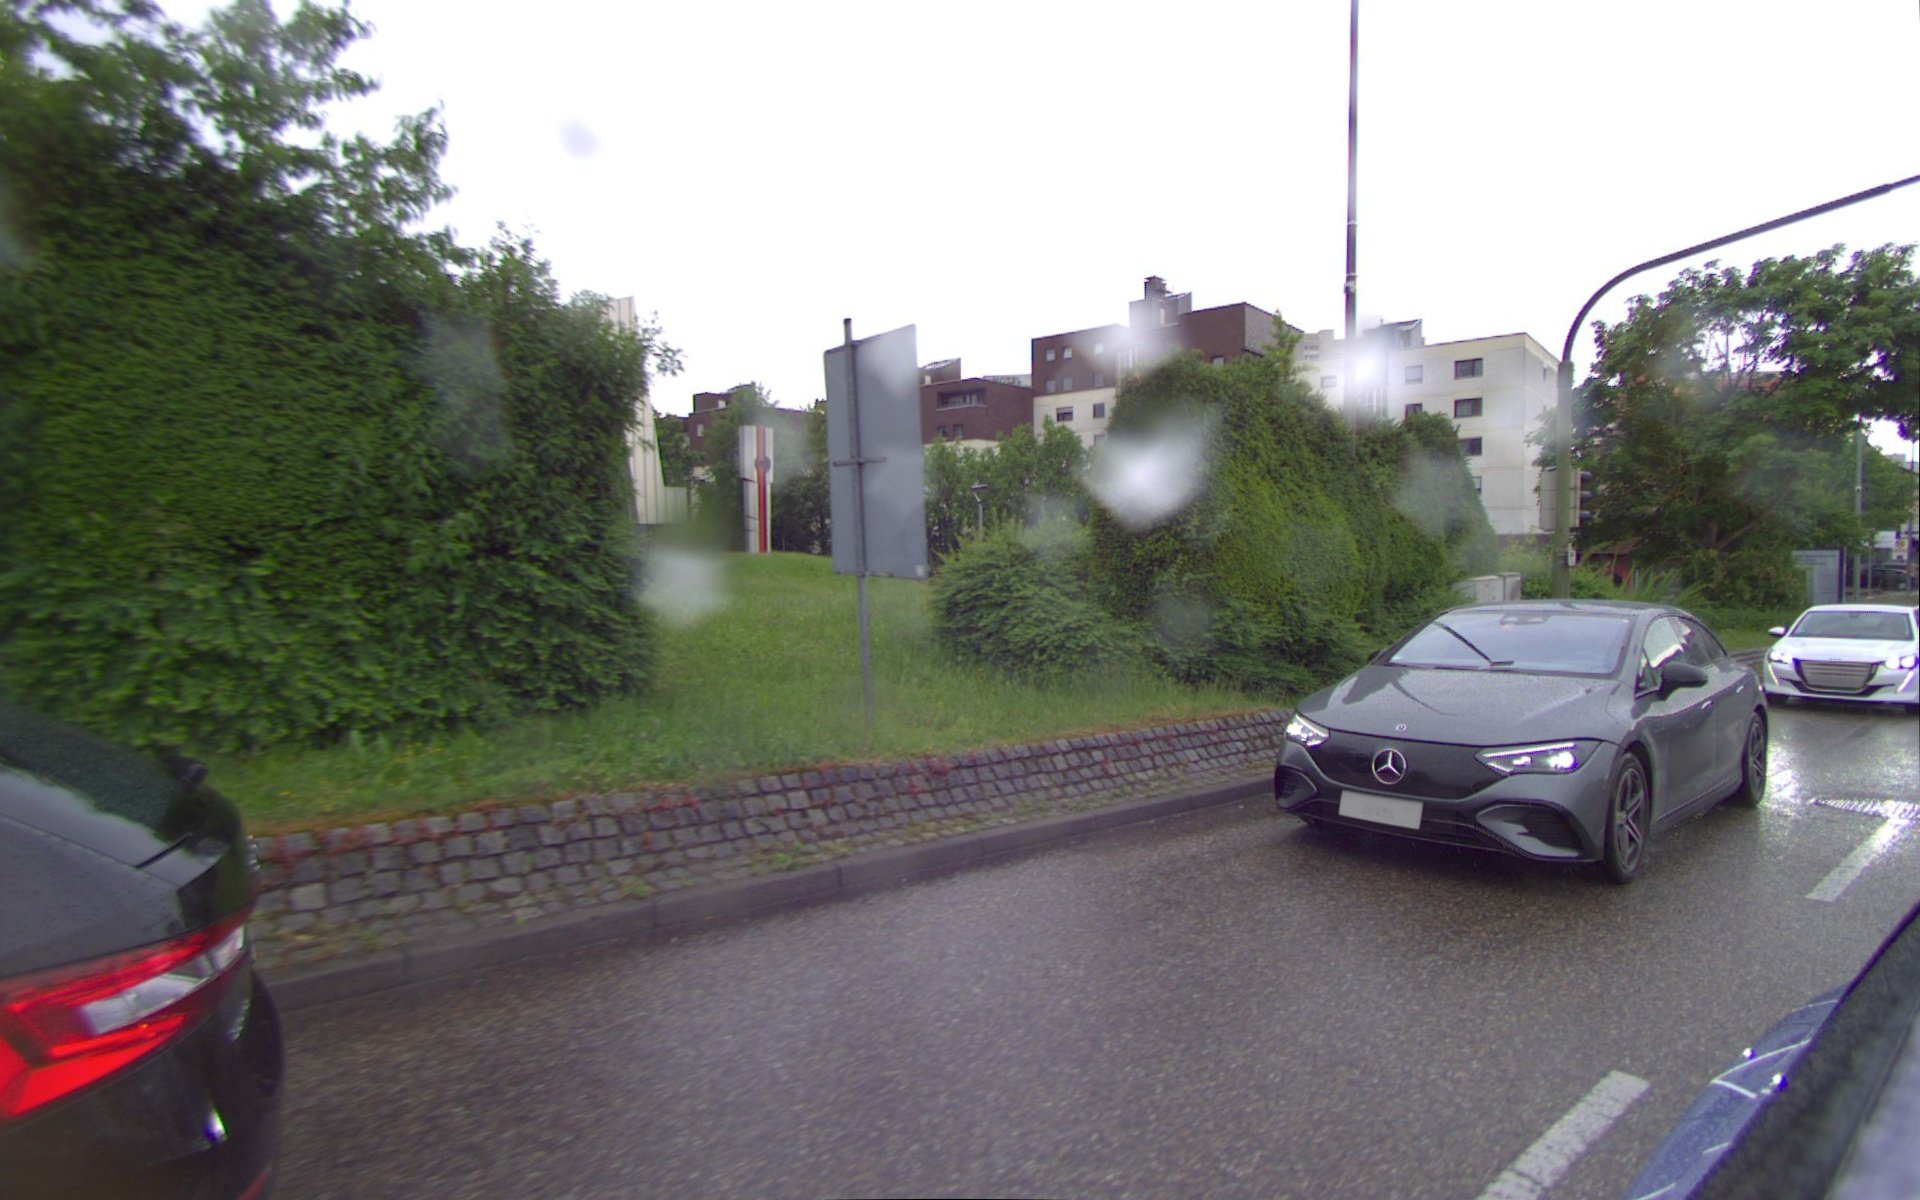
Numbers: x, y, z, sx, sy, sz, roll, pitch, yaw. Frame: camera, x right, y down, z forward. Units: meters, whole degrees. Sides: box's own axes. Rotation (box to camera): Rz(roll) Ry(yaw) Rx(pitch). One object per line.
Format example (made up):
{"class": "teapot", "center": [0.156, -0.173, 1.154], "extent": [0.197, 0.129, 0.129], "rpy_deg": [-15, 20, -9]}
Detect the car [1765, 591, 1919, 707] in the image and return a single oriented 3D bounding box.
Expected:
{"class": "car", "center": [13.207, 0.609, 14.613], "extent": [3.964, 1.415, 1.717], "rpy_deg": [-1, 1, -40]}

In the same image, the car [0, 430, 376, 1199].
{"class": "car", "center": [-3.199, 0.608, 0.730], "extent": [4.529, 1.526, 1.956], "rpy_deg": [-1, 0, -42]}

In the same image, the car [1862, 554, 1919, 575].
{"class": "car", "center": [68.826, -2.610, 74.192], "extent": [3.983, 1.438, 1.678], "rpy_deg": [0, 1, 41]}

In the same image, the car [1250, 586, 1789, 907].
{"class": "car", "center": [4.027, 0.663, 6.907], "extent": [4.472, 1.462, 1.834], "rpy_deg": [-1, 1, -42]}

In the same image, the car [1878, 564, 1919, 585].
{"class": "car", "center": [68.001, -1.826, 71.922], "extent": [3.983, 1.438, 1.971], "rpy_deg": [0, 1, 41]}

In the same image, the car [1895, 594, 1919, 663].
{"class": "car", "center": [21.821, 0.593, 22.022], "extent": [3.669, 1.394, 1.717], "rpy_deg": [-1, 1, -40]}
